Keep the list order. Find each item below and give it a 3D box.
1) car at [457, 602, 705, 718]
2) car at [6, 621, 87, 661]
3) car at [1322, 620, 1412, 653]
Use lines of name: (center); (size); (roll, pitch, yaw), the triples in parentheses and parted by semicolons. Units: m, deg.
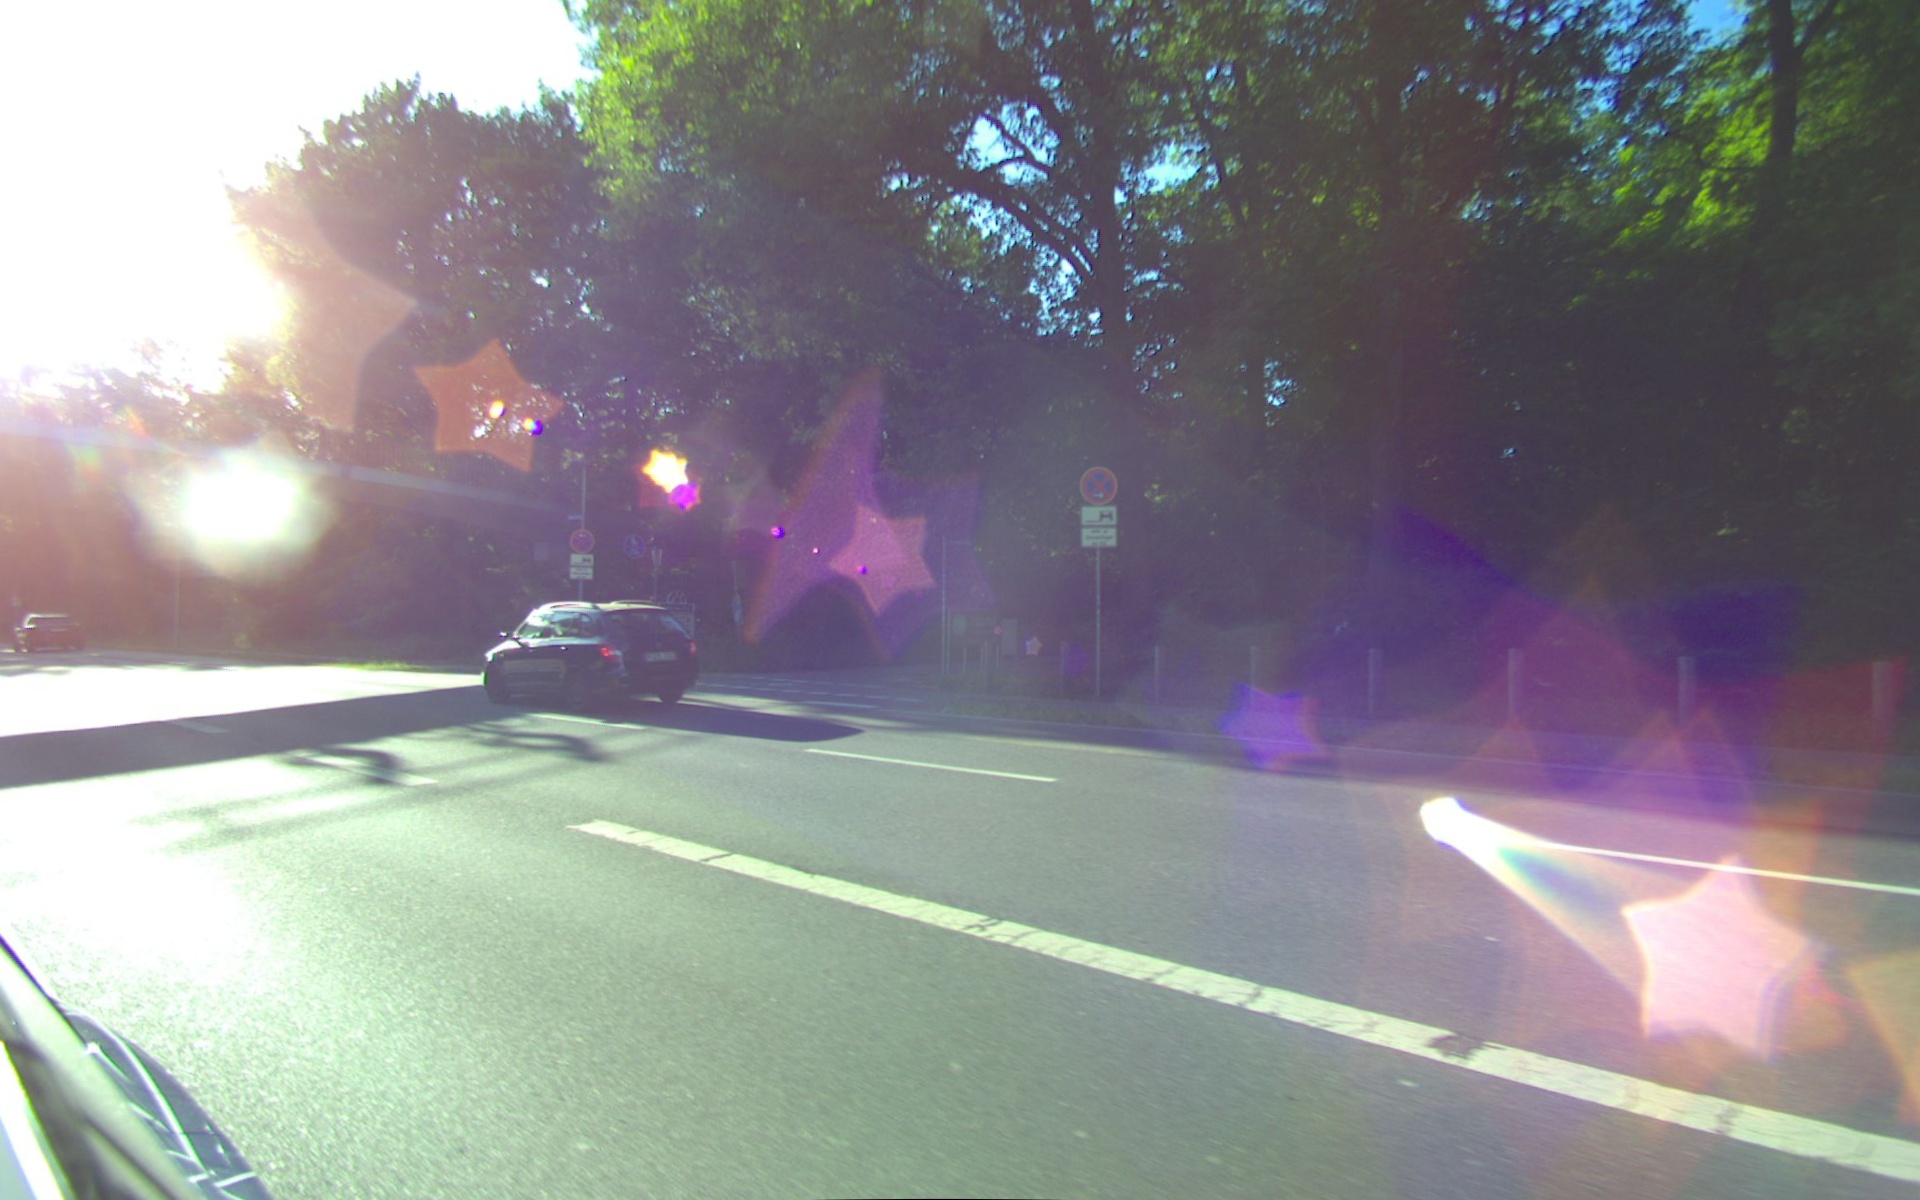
car: (-5.706, 0.814, 14.967); (4.310, 1.477, 1.498); (-1, -1, 40)
car: (-38.086, 1.700, 42.173); (3.993, 1.560, 1.825); (-2, -1, 37)
car: (20.333, 1.782, 50.633); (3.909, 1.515, 1.551); (0, 0, 36)
